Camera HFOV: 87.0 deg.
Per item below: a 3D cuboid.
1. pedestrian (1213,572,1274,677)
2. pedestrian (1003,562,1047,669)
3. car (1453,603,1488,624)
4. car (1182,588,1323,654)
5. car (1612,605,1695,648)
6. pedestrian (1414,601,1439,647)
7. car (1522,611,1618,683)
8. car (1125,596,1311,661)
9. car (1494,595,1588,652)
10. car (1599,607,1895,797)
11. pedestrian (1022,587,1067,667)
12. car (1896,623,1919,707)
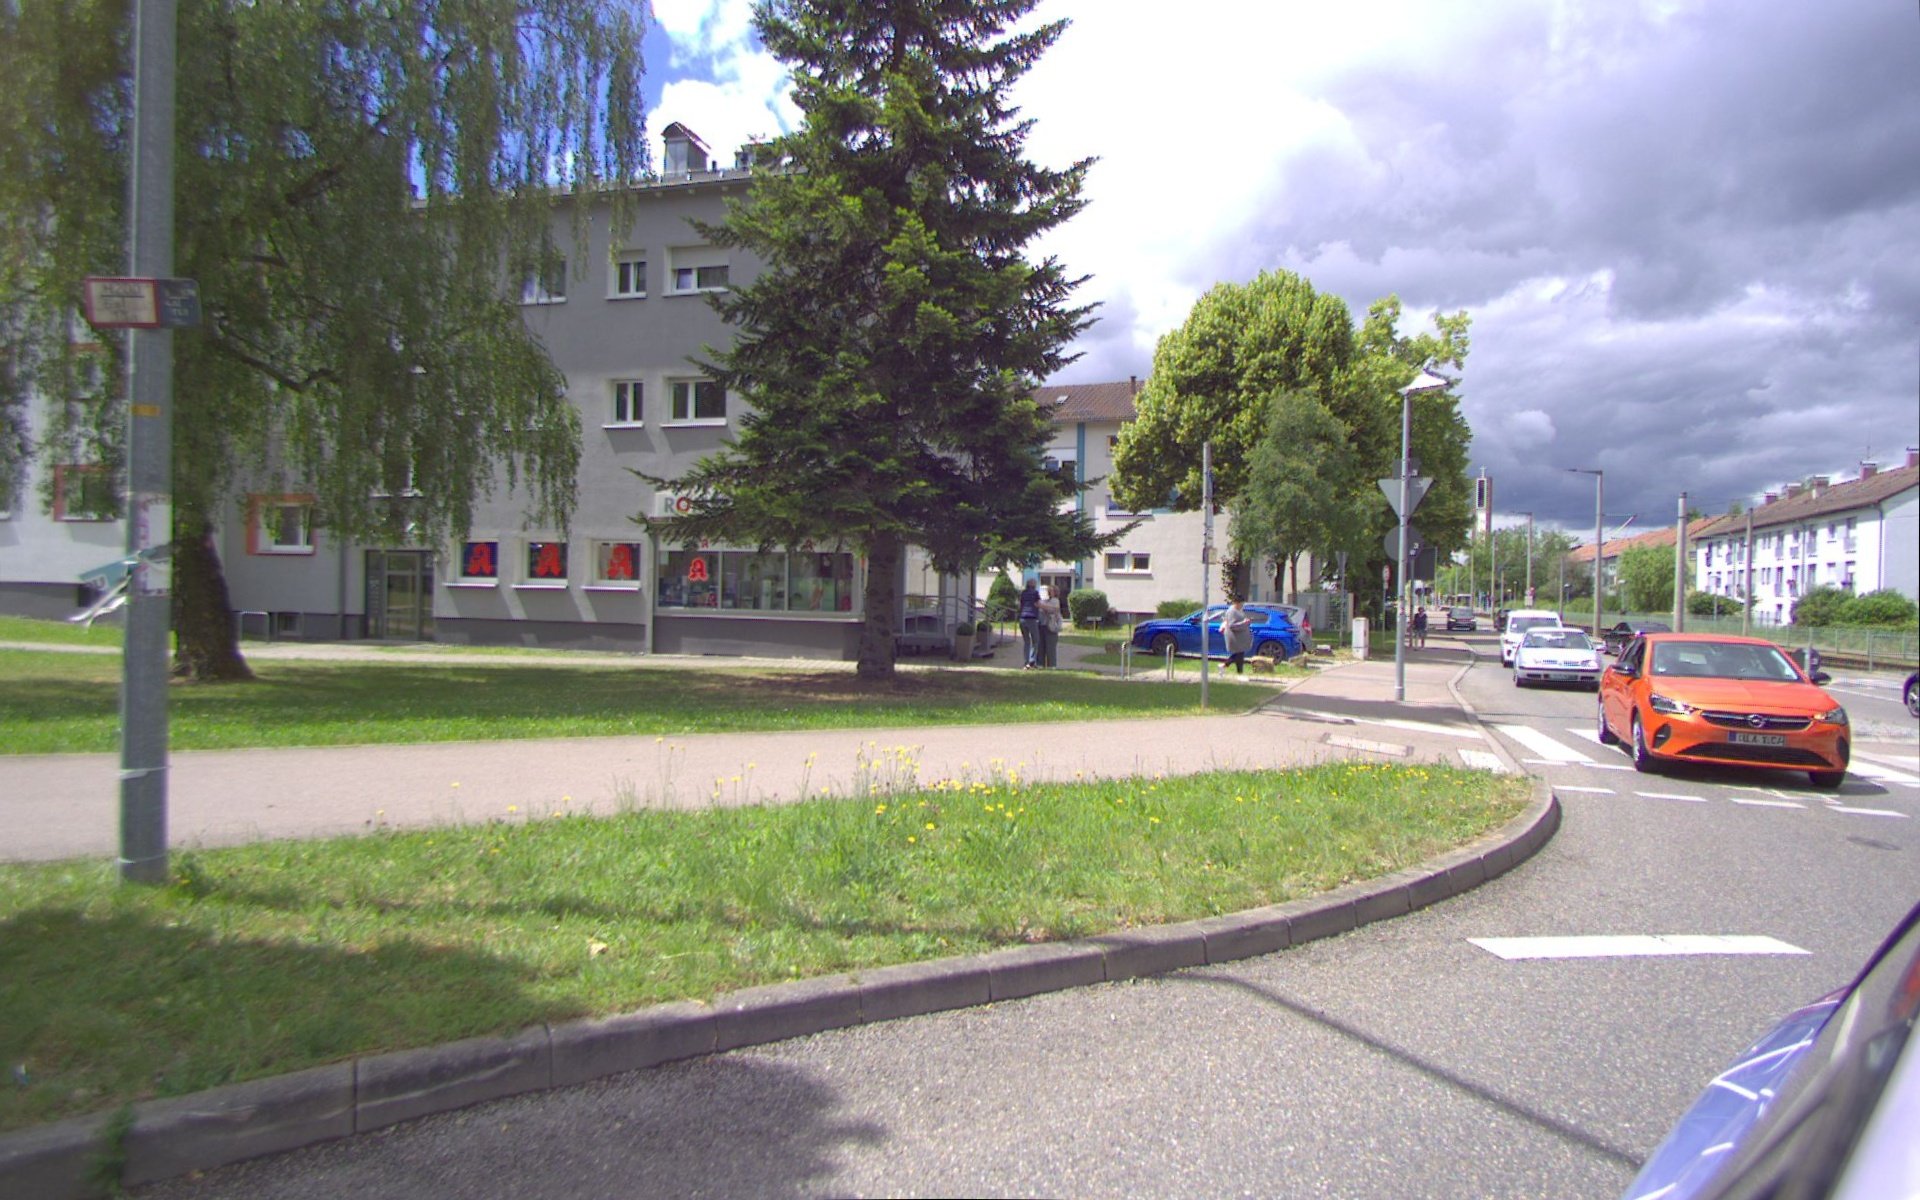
[{"bbox_3d":[5.553,0.459,19.863,0.925,1.981,0.842,2,0,3],"label":"pedestrian"},{"bbox_3d":[1.301,0.291,20.168,0.646,2.039,1.042,2,1,15],"label":"pedestrian"},{"bbox_3d":[36.114,0.910,71.613,1.905,1.333,3.956,3,1,31],"label":"car"},{"bbox_3d":[8.401,0.561,29.189,3.690,1.576,2.021,4,1,17],"label":"car"},{"bbox_3d":[25.938,0.933,37.991,1.805,1.401,4.577,2,1,25],"label":"car"},{"bbox_3d":[17.492,0.898,37.948,0.675,1.681,0.827,2,1,18],"label":"pedestrian"},{"bbox_3d":[14.270,1.020,23.749,1.751,1.415,3.956,3,1,31],"label":"car"},{"bbox_3d":[6.653,0.689,26.337,4.434,1.259,1.991,4,1,15],"label":"car"},{"bbox_3d":[18.578,0.691,32.555,1.976,1.627,3.972,2,1,21],"label":"car"},{"bbox_3d":[8.449,0.936,11.275,1.750,1.577,3.964,2,1,26],"label":"car"},{"bbox_3d":[1.700,0.518,20.260,0.734,1.549,0.687,2,1,17],"label":"pedestrian"},{"bbox_3d":[17.536,1.186,16.288,1.833,1.473,4.365,0,0,16],"label":"car"}]
